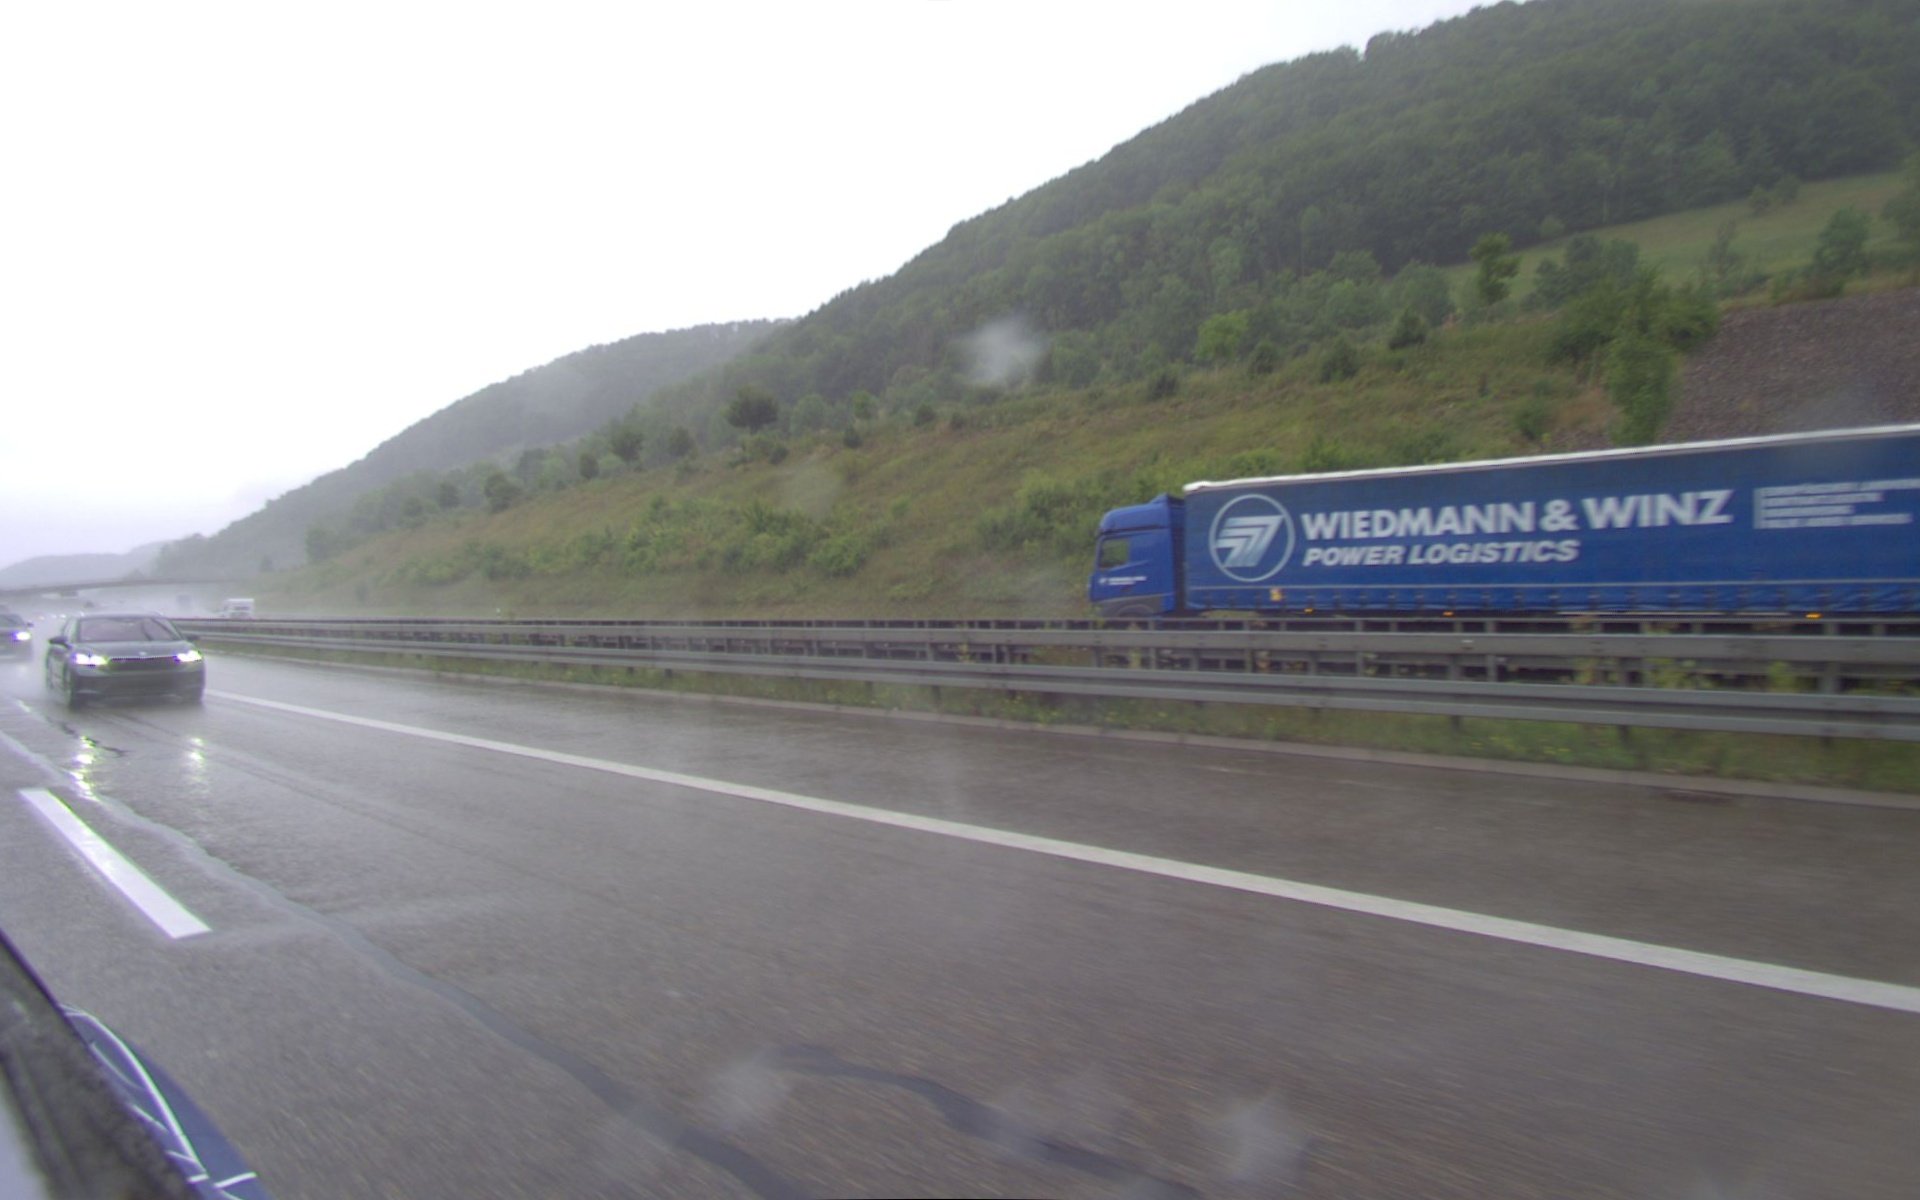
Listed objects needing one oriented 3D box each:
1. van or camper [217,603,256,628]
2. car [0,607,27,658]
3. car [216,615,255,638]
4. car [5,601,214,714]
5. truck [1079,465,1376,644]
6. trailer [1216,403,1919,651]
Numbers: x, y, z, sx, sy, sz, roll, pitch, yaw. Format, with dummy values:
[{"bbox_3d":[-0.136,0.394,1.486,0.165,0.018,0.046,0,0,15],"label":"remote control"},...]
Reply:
[{"bbox_3d":[-80.251,1.739,112.233,2.317,2.583,7.209,-1,0,-45],"label":"van or camper"},{"bbox_3d":[-34.418,1.136,35.838,3.750,1.715,1.790,-1,1,44],"label":"car"},{"bbox_3d":[-61.125,2.222,85.344,4.001,1.874,1.971,-1,0,44],"label":"car"},{"bbox_3d":[-15.319,0.923,18.136,4.904,1.695,1.974,-1,2,40],"label":"car"},{"bbox_3d":[6.215,-0.908,24.037,6.202,3.711,2.752,-1,0,40],"label":"truck"},{"bbox_3d":[11.668,-1.029,19.350,13.237,3.709,2.784,-1,0,41],"label":"trailer"}]
